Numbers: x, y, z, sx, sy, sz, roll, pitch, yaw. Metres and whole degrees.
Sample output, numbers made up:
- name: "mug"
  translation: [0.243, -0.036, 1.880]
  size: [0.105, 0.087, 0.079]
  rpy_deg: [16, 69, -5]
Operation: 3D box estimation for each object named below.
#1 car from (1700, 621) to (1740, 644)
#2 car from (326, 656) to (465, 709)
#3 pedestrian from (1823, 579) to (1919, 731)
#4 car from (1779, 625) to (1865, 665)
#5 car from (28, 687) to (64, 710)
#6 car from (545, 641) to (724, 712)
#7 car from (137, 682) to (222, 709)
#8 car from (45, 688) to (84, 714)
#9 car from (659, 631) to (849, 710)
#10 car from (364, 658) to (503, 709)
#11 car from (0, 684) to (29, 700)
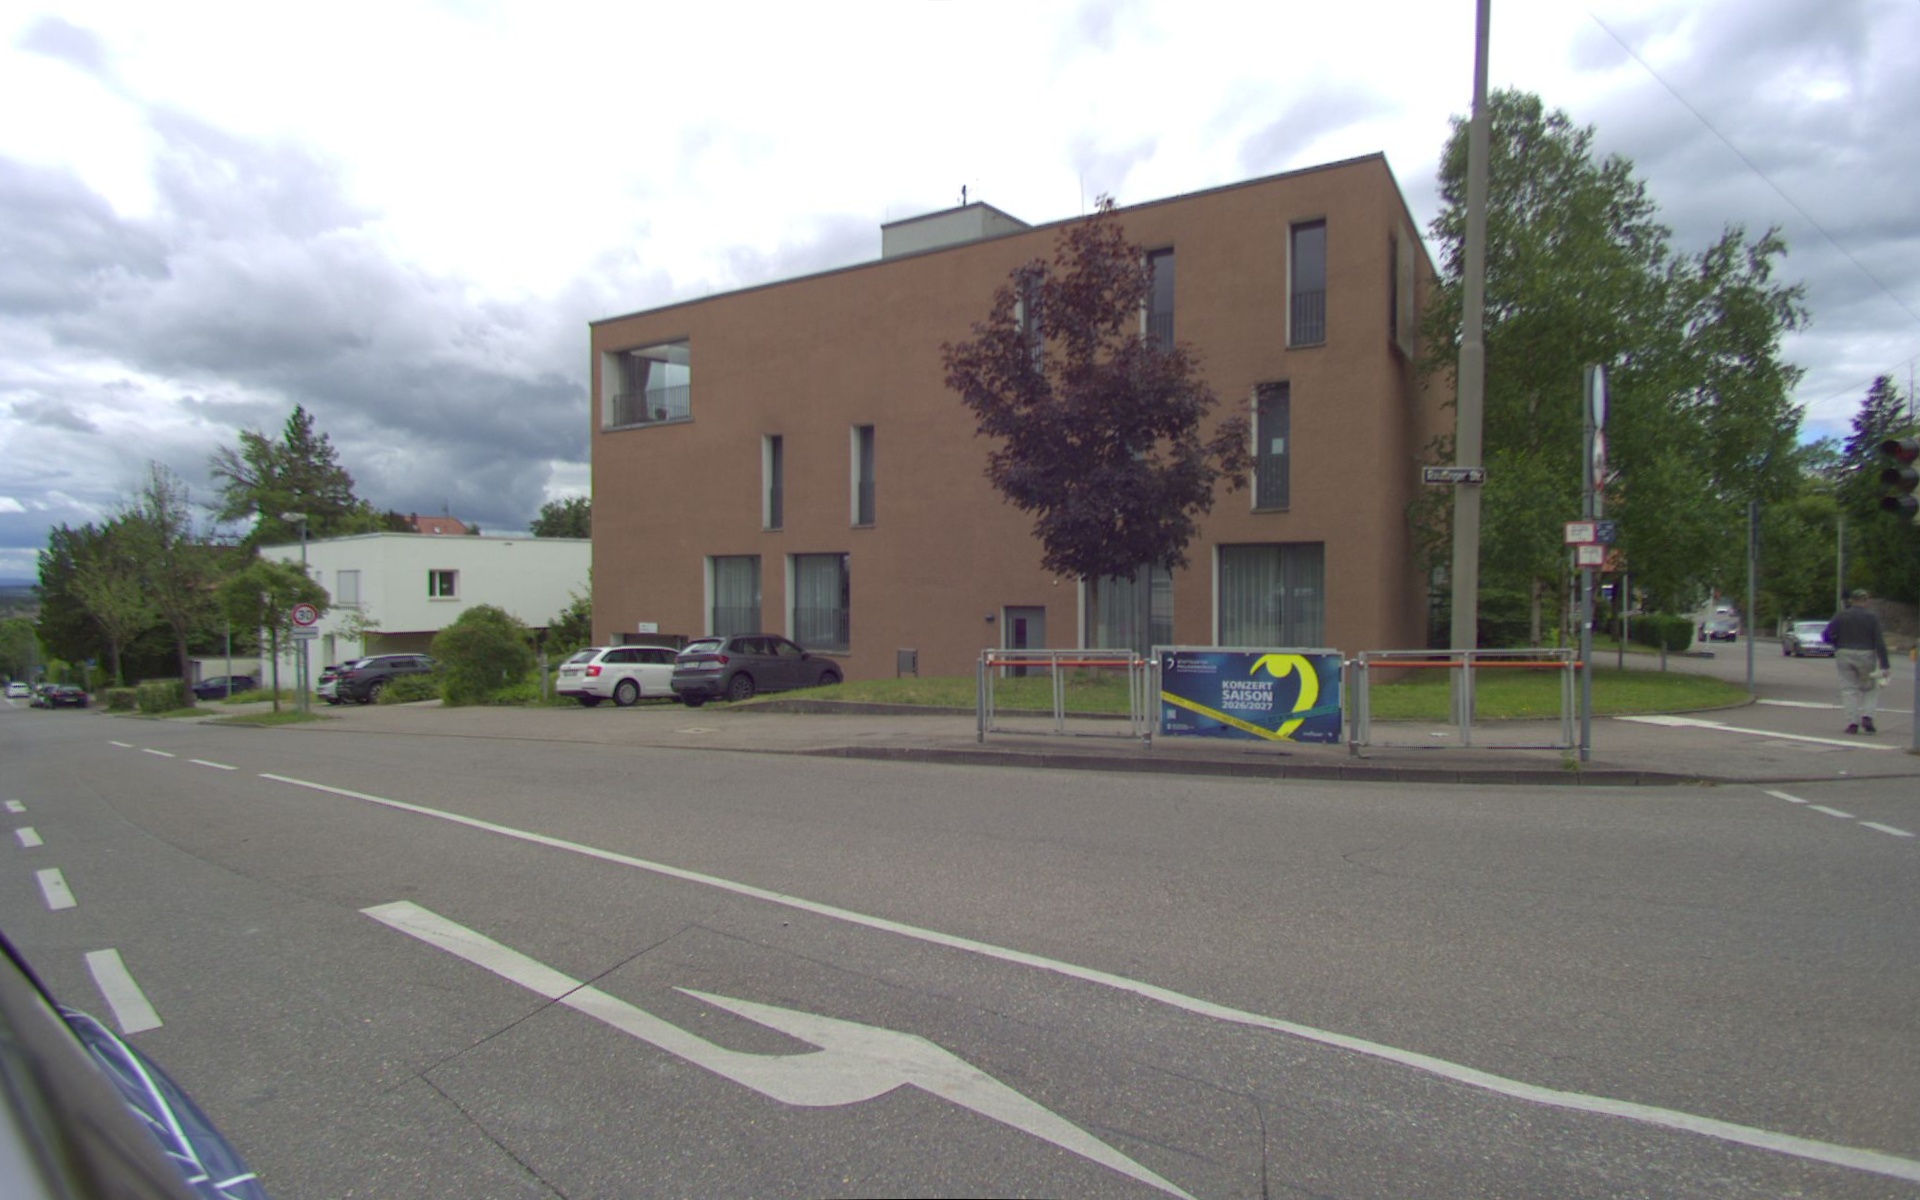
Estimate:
- name: "car"
  translation: [52.599, 2.257, 70.101]
  size: [1.825, 1.547, 3.957]
  rpy_deg: [-1, -2, 31]
- name: "car"
  translation: [-19.971, 2.897, 35.929]
  size: [1.793, 1.608, 3.943]
  rpy_deg: [-6, -4, 43]
- name: "pedestrian"
  translation: [10.371, 0.613, 11.484]
  size: [0.728, 1.646, 0.685]
  rpy_deg: [1, -3, -38]
- name: "car"
  translation: [34.442, 1.779, 40.547]
  size: [1.702, 1.424, 4.382]
  rpy_deg: [-2, -1, 29]
- name: "car"
  translation: [-61.554, 6.626, 68.141]
  size: [1.638, 1.432, 4.371]
  rpy_deg: [0, -4, -44]
- name: "car"
  translation: [-7.993, 1.858, 25.117]
  size: [1.724, 1.497, 3.950]
  rpy_deg: [-5, -4, 37]
- name: "car"
  translation: [-46.968, 5.736, 60.928]
  size: [3.939, 1.296, 1.665]
  rpy_deg: [0, -4, -43]
- name: "car"
  translation: [-54.931, 6.168, 62.062]
  size: [1.638, 1.432, 4.003]
  rpy_deg: [0, -4, -44]
- name: "car"
  translation: [-4.487, 1.526, 22.511]
  size: [1.724, 1.497, 3.950]
  rpy_deg: [-5, -4, 37]
- name: "car"
  translation: [-18.228, 2.877, 35.144]
  size: [1.727, 1.497, 3.943]
  rpy_deg: [-6, -4, 43]
- name: "car"
  translation: [-95.904, 9.295, 102.346]
  size: [4.362, 1.432, 1.861]
  rpy_deg: [-3, -3, 38]
